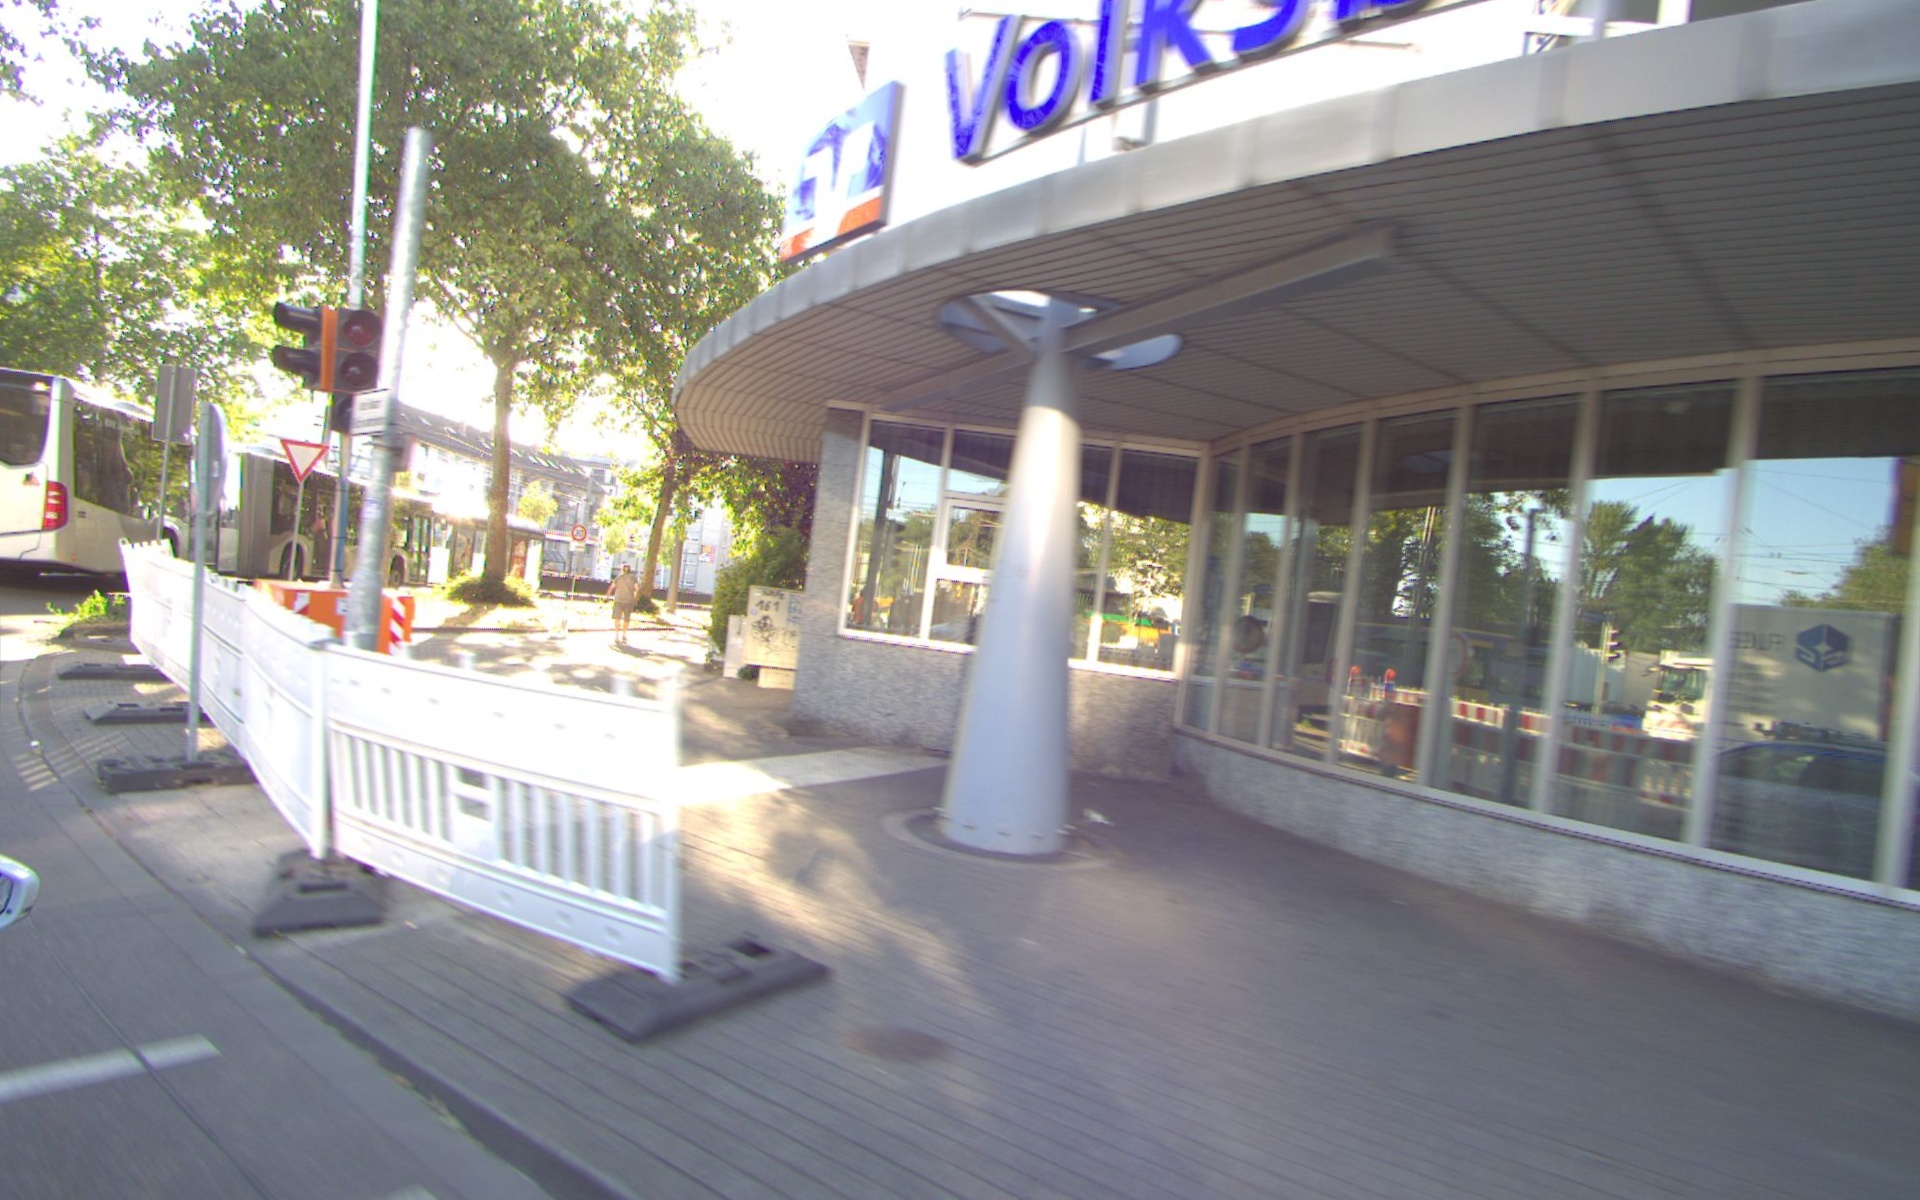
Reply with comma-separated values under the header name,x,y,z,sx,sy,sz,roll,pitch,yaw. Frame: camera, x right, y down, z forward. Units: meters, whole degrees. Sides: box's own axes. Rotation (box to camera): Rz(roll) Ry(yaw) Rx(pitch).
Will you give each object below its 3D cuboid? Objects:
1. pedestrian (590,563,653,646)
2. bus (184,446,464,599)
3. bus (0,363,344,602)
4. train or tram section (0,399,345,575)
name,x,y,z,sx,sy,sz,roll,pitch,yaw
pedestrian,-6.610,0.093,19.663,0.778,1.492,0.816,7,0,1
bus,-16.830,-1.798,27.643,2.671,3.144,8.968,8,-1,-7
bus,-15.094,-1.851,18.837,2.700,3.176,10.671,8,-1,-14
train or tram section,-24.351,-3.080,29.829,2.599,3.560,13.345,7,-1,6
